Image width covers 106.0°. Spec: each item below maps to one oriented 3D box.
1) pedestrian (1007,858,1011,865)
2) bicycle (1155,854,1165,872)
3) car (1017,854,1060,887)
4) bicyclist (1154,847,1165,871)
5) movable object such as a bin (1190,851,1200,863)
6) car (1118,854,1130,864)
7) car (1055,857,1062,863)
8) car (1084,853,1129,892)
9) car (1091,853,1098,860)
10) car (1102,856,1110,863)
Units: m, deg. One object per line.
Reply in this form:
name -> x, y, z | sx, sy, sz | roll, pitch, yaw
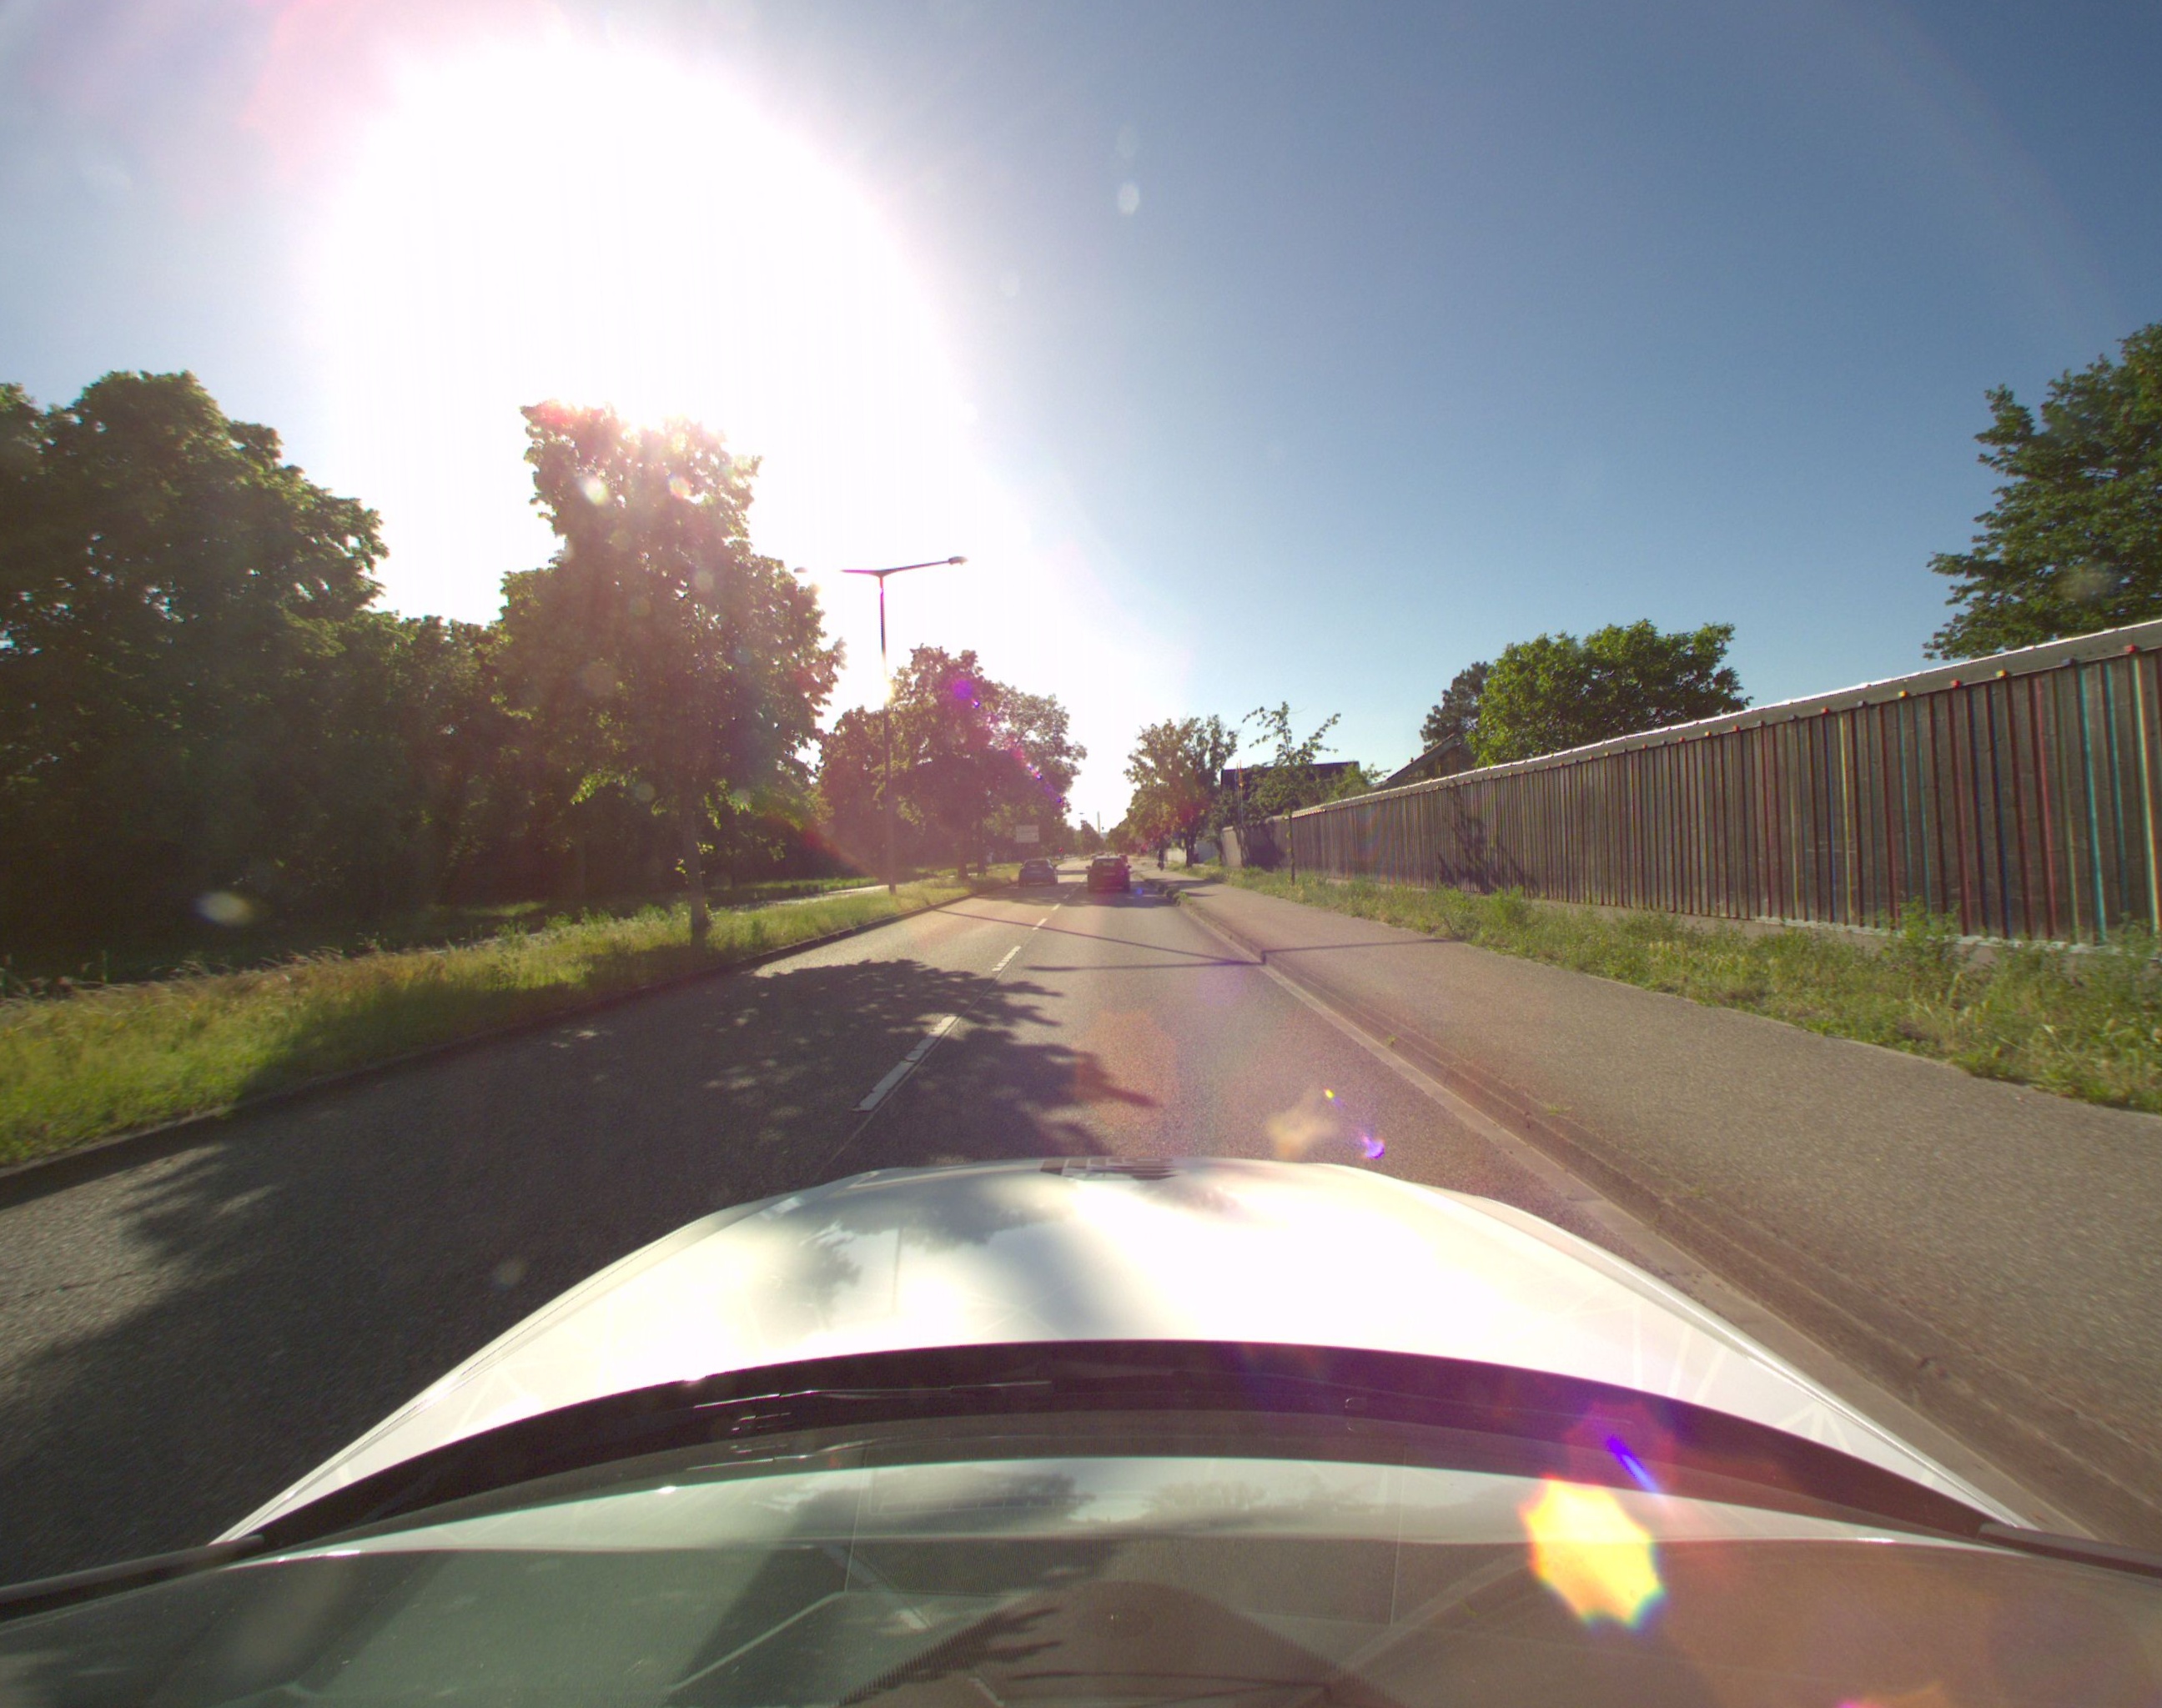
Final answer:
pedestrian -> -18.470, 1.979, 207.935 | 0.842, 1.835, 0.550 | -2, 0, 2
bicycle -> 5.679, 0.652, 58.660 | 0.571, 1.155, 2.145 | -6, 0, 7
car -> -2.209, 0.845, 43.186 | 1.881, 1.552, 4.001 | -3, -1, 2
bicyclist -> 5.675, 0.369, 58.636 | 0.627, 1.632, 0.984 | -5, 0, 6
movable object such as a bin -> 11.997, 0.309, 85.741 | 0.996, 1.205, 1.065 | -4, -1, 9
car -> 6.981, 0.787, 132.743 | 1.724, 1.459, 3.846 | -2, 0, 5
car -> -7.162, 1.838, 256.316 | 1.904, 1.703, 4.410 | -1, -1, 2
car -> 1.092, 0.765, 34.597 | 1.749, 1.509, 3.810 | -2, -1, 2
car -> 3.477, 0.629, 211.055 | 1.818, 1.615, 3.841 | -3, 1, 1
car -> 5.675, 1.319, 183.488 | 1.726, 1.585, 3.841 | 0, -1, 1
